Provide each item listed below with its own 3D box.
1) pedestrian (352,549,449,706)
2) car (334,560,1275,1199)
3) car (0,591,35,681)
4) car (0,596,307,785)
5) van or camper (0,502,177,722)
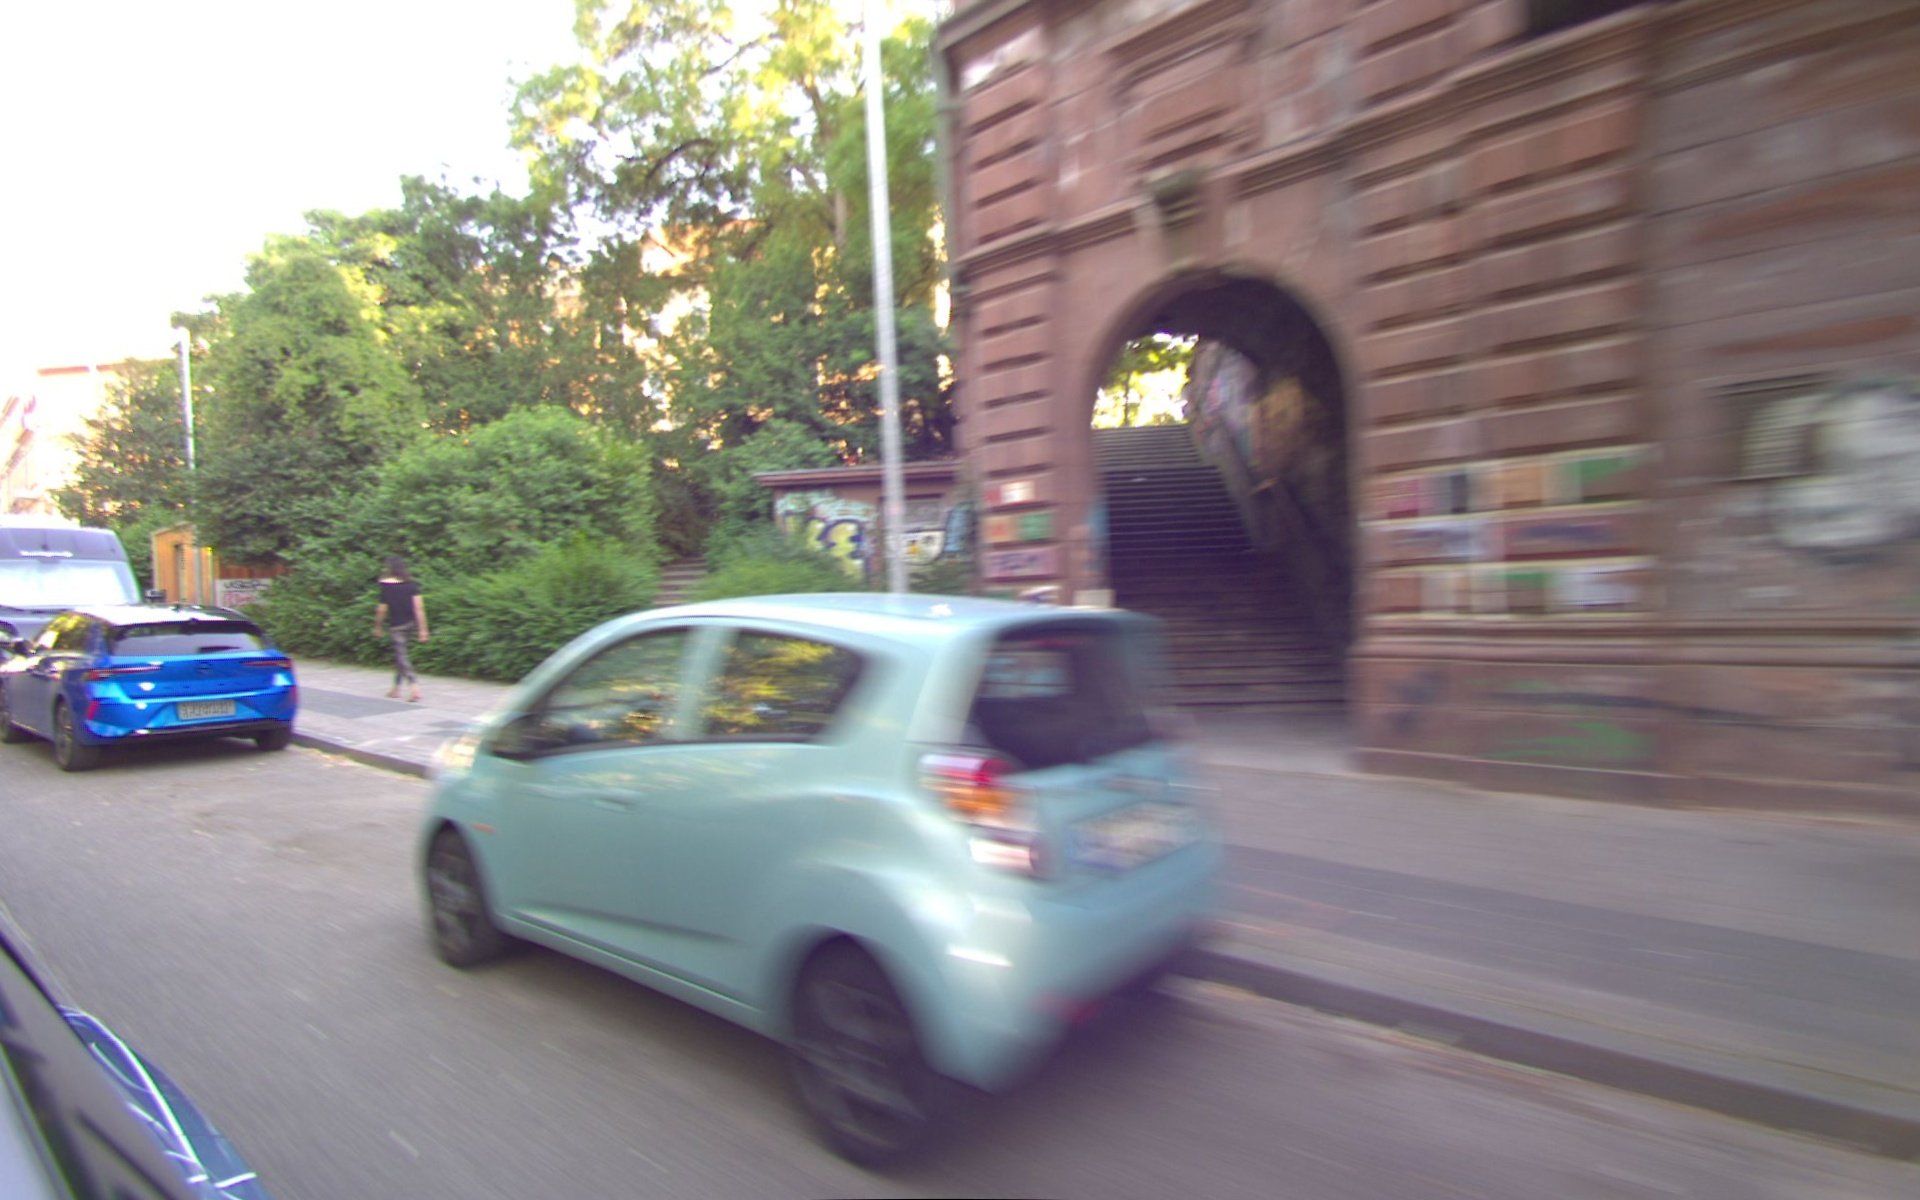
[{"bbox_3d":[-7.200,0.331,13.025,1.044,1.928,0.632,0,3,35],"label":"pedestrian"},{"bbox_3d":[-0.923,0.702,4.121,3.911,1.559,1.579,-1,0,39],"label":"car"},{"bbox_3d":[-18.131,0.600,18.186,4.225,1.518,1.682,0,0,40],"label":"car"},{"bbox_3d":[-8.518,0.735,10.345,4.370,1.477,1.728,0,3,38],"label":"car"},{"bbox_3d":[-13.283,0.102,14.103,6.414,2.541,2.214,0,3,39],"label":"van or camper"}]
